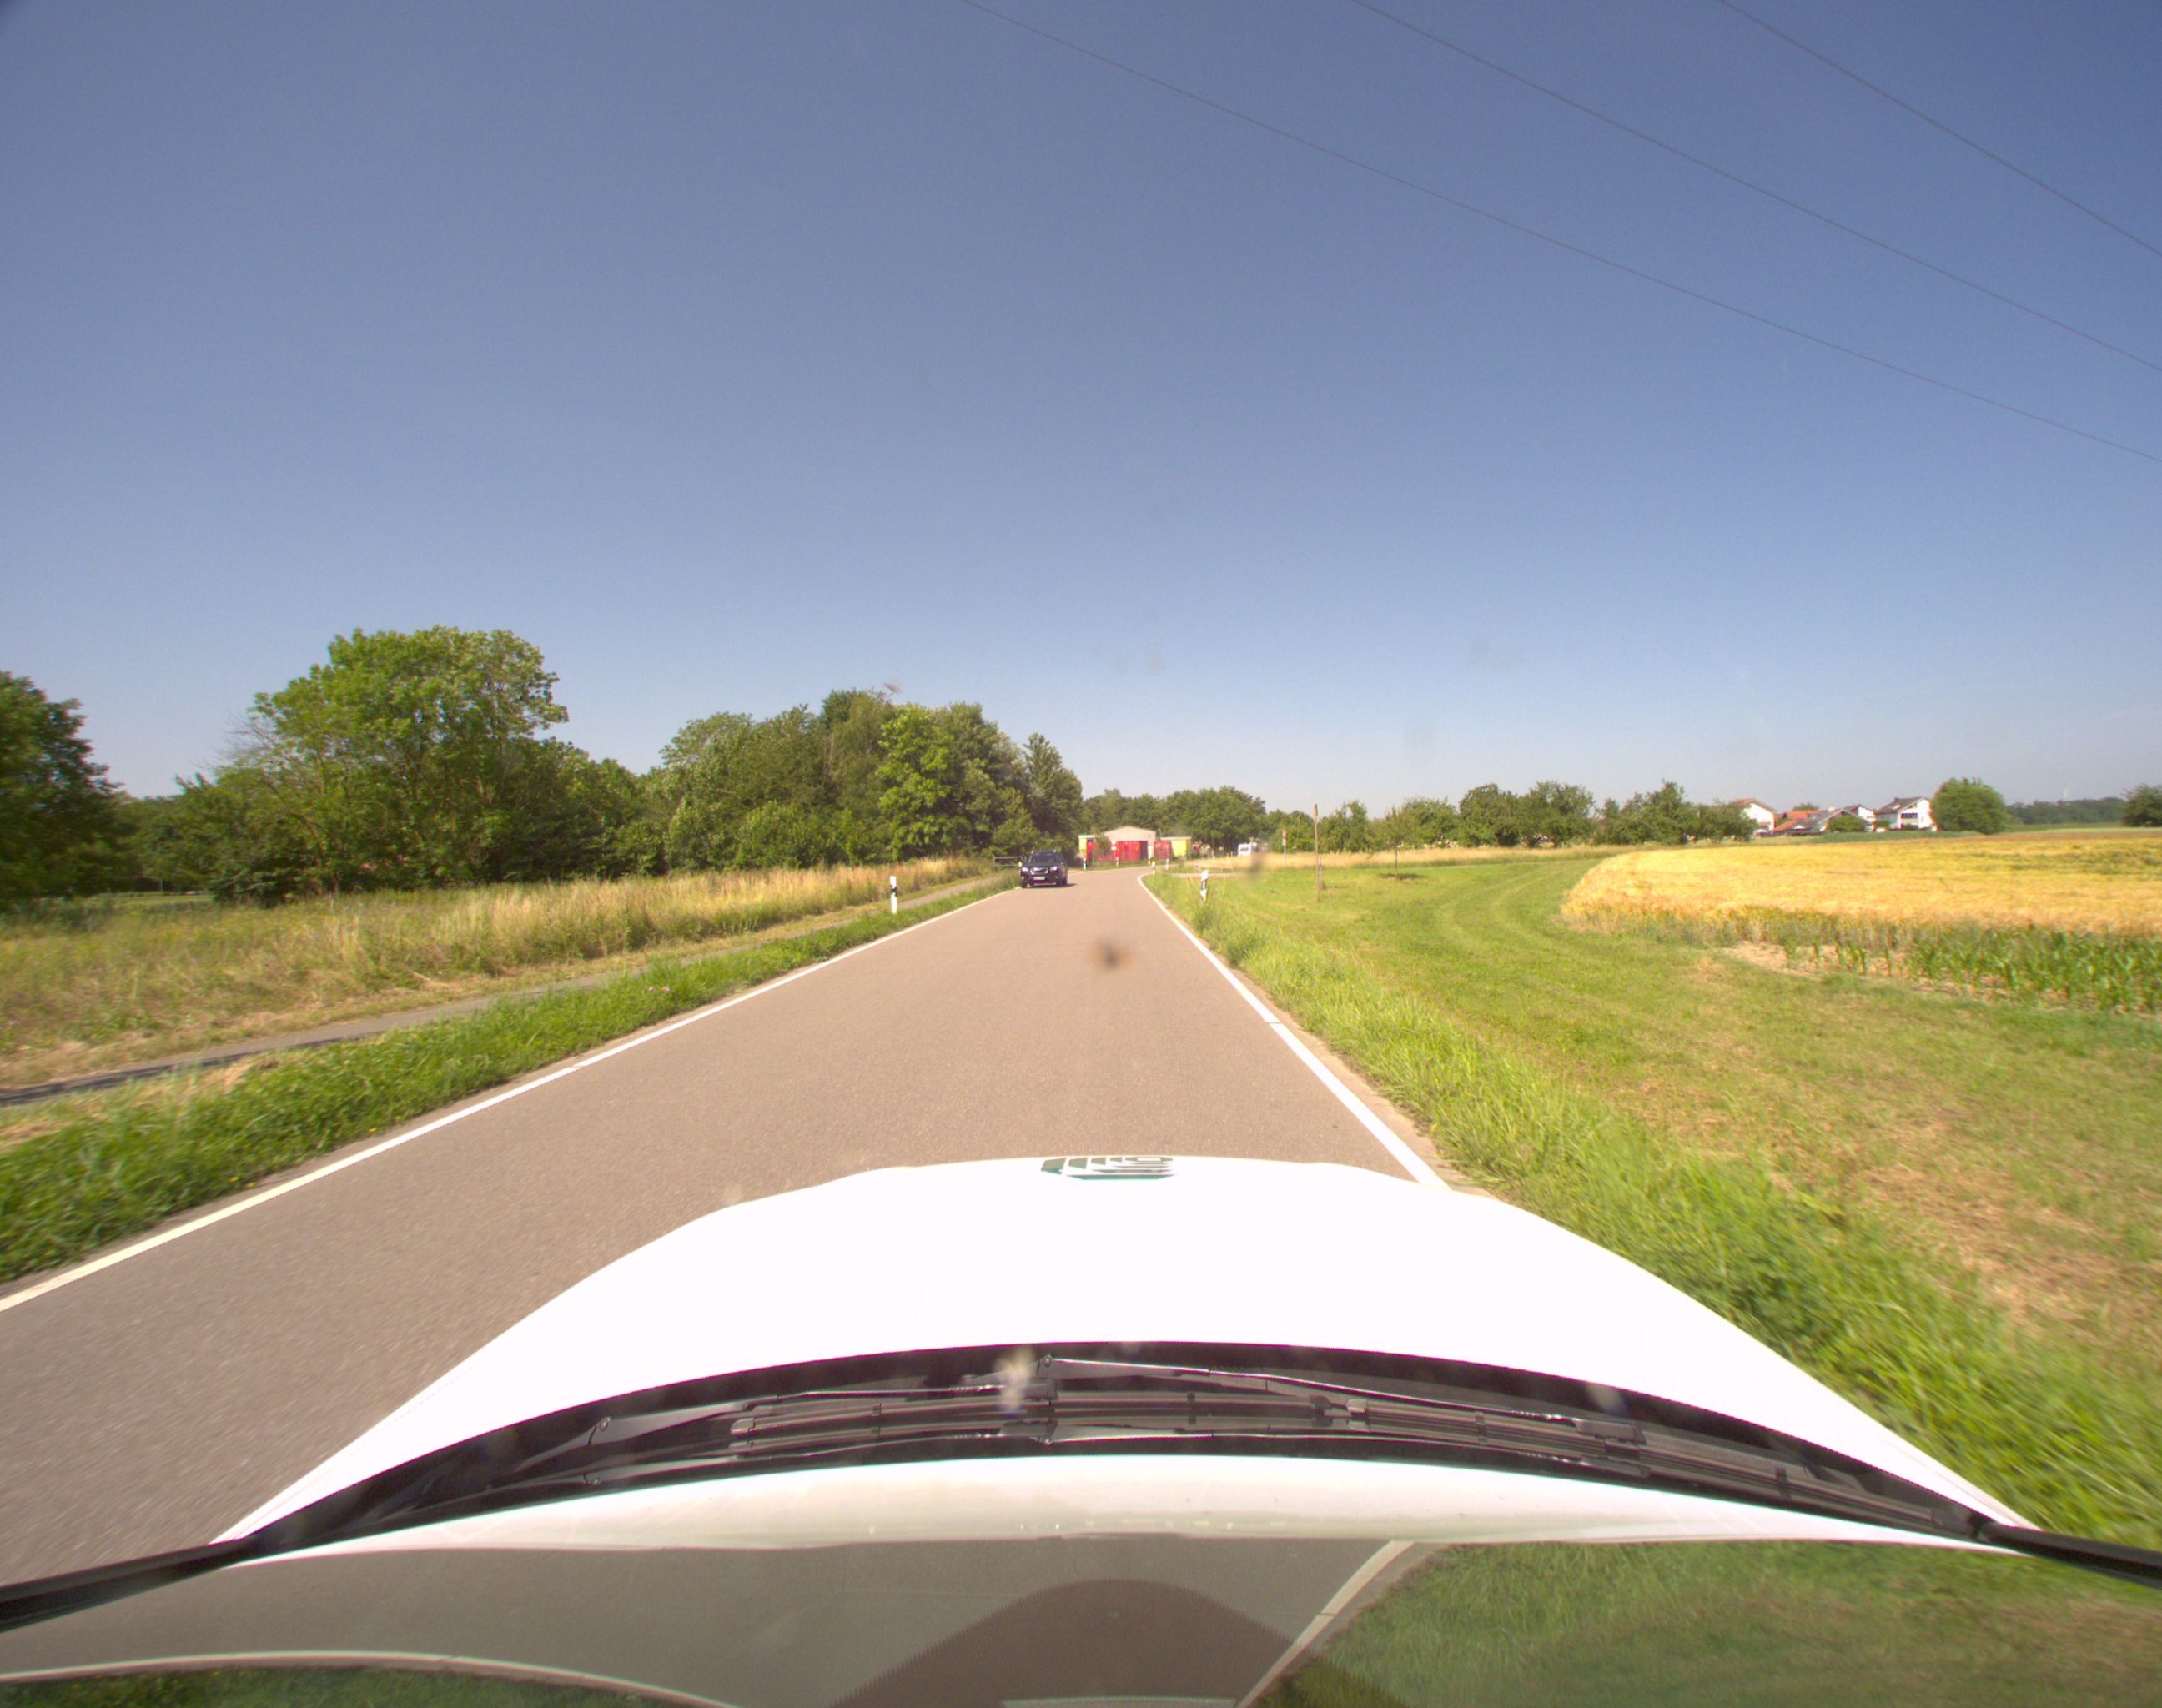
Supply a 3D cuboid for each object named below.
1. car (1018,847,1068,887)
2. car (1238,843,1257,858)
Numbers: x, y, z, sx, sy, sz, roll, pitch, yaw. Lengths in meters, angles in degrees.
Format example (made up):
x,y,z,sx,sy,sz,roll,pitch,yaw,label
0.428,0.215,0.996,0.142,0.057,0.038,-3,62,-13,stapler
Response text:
x,y,z,sx,sy,sz,roll,pitch,yaw,label
-1.727,0.569,38.730,1.858,1.753,4.300,-2,0,3,car
25.797,-0.544,126.056,1.976,2.266,4.752,-2,0,22,car
